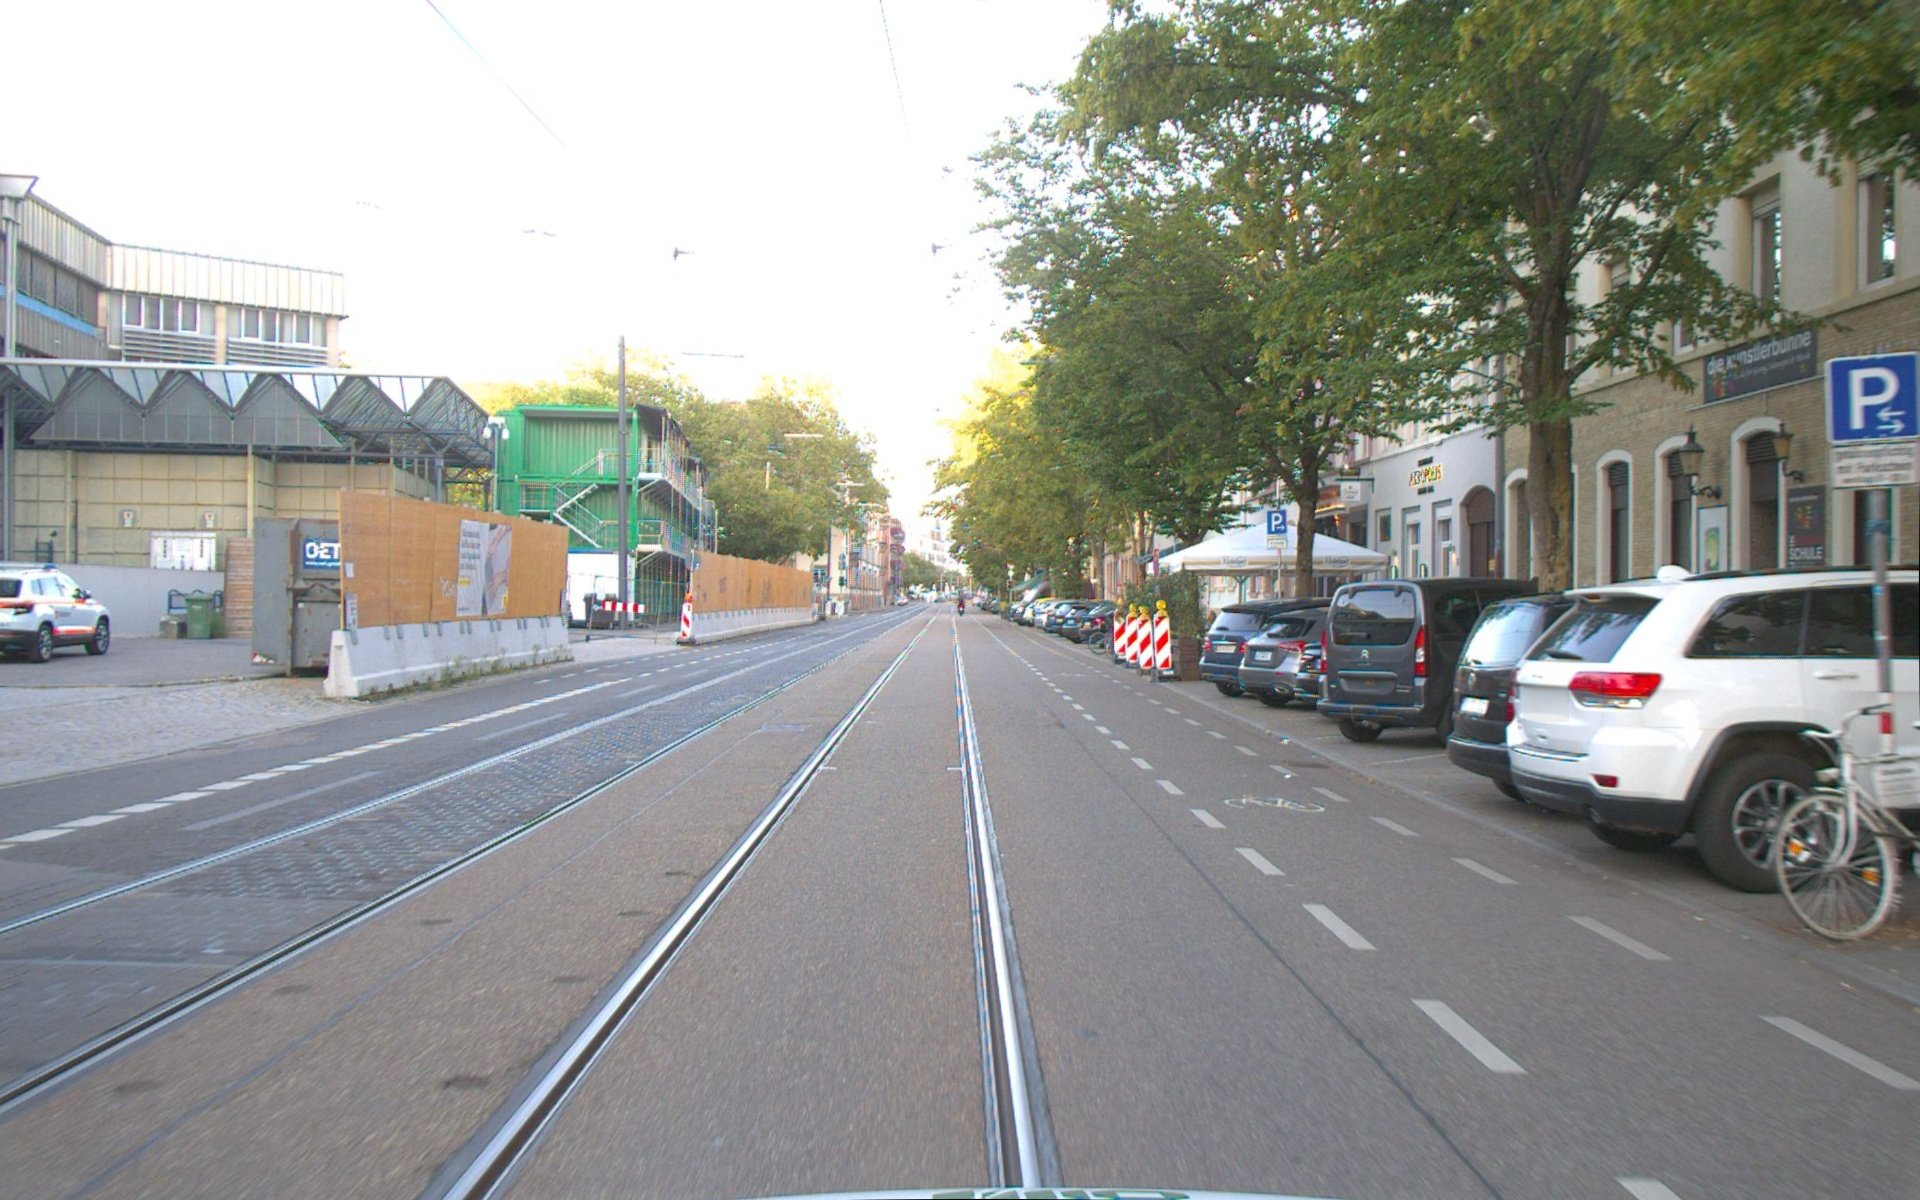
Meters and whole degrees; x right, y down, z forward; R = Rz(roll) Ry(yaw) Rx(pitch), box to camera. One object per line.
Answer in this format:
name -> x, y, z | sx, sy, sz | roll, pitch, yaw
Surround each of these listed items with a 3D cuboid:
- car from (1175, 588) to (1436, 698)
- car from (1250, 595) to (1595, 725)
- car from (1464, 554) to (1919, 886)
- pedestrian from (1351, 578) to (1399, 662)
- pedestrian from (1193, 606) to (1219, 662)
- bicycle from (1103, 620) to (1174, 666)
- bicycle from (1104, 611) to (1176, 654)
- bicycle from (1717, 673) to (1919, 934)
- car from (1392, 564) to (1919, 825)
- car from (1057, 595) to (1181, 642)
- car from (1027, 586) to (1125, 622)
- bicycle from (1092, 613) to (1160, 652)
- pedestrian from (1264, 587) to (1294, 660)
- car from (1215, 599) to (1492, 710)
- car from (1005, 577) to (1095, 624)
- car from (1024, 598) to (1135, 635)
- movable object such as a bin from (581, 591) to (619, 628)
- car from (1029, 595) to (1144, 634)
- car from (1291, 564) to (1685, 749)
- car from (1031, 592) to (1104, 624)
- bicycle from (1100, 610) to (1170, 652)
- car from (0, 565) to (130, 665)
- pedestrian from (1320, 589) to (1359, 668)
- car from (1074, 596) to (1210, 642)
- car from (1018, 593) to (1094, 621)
car -> 5.587, 0.654, 26.726 | 3.913, 1.580, 1.692 | -2, 0, -26
car -> 6.086, 0.729, 21.734 | 4.258, 1.413, 1.791 | -2, 0, -26
car -> 5.647, 0.590, 9.976 | 4.555, 1.717, 2.007 | -2, 0, -2
pedestrian -> 8.961, 0.434, 35.713 | 0.694, 1.794, 0.709 | 1, 0, -27
pedestrian -> 5.969, 0.821, 40.164 | 0.492, 1.315, 0.599 | 1, 0, -5
bicycle -> 4.422, 1.074, 41.101 | 1.645, 1.049, 0.556 | -3, 0, -2
bicycle -> 4.941, 0.888, 45.375 | 1.849, 1.049, 0.608 | -3, 0, -2
bicycle -> 4.702, 0.951, 8.182 | 1.804, 1.122, 0.496 | -3, 1, -15
car -> 5.970, 0.643, 12.979 | 4.559, 1.717, 2.005 | -2, 0, -6
car -> 5.743, 0.662, 59.844 | 4.051, 1.496, 1.815 | -3, 0, -18
car -> 5.421, 0.179, 77.462 | 4.174, 1.576, 2.014 | -1, 0, -11
bicycle -> 4.791, 0.937, 47.846 | 1.865, 1.049, 0.533 | -3, 0, -2
pedestrian -> 7.989, 0.578, 41.478 | 0.539, 1.794, 0.894 | 1, 0, -1
car -> 5.761, 0.749, 24.220 | 3.726, 1.432, 1.692 | -2, 0, -26
car -> 5.415, 0.029, 99.487 | 5.015, 2.689, 2.012 | -1, 0, -17
car -> 4.992, 0.674, 69.168 | 4.194, 1.416, 2.000 | -1, 0, -24
movable object such as a bin -> -13.710, 0.345, 63.002 | 1.280, 1.393, 0.783 | 1, 0, -4
car -> 4.938, 0.561, 64.824 | 4.063, 1.496, 2.000 | 1, 0, -25
car -> 6.009, 0.563, 18.780 | 4.102, 1.838, 1.988 | -2, 0, -29
car -> 5.912, 0.457, 90.936 | 3.869, 1.648, 1.921 | -1, -1, 0
bicycle -> 4.953, 0.882, 46.749 | 1.849, 1.086, 0.674 | -3, 0, -2
car -> -17.031, 0.233, 30.280 | 1.956, 1.693, 4.272 | 1, 0, -8
pedestrian -> 8.702, 0.649, 37.958 | 0.541, 1.794, 0.850 | 1, 0, -12
car -> 6.025, 0.629, 54.745 | 4.099, 1.451, 1.813 | 1, 0, -20
car -> 5.502, 0.382, 94.765 | 3.899, 1.512, 1.906 | -1, -1, -25
